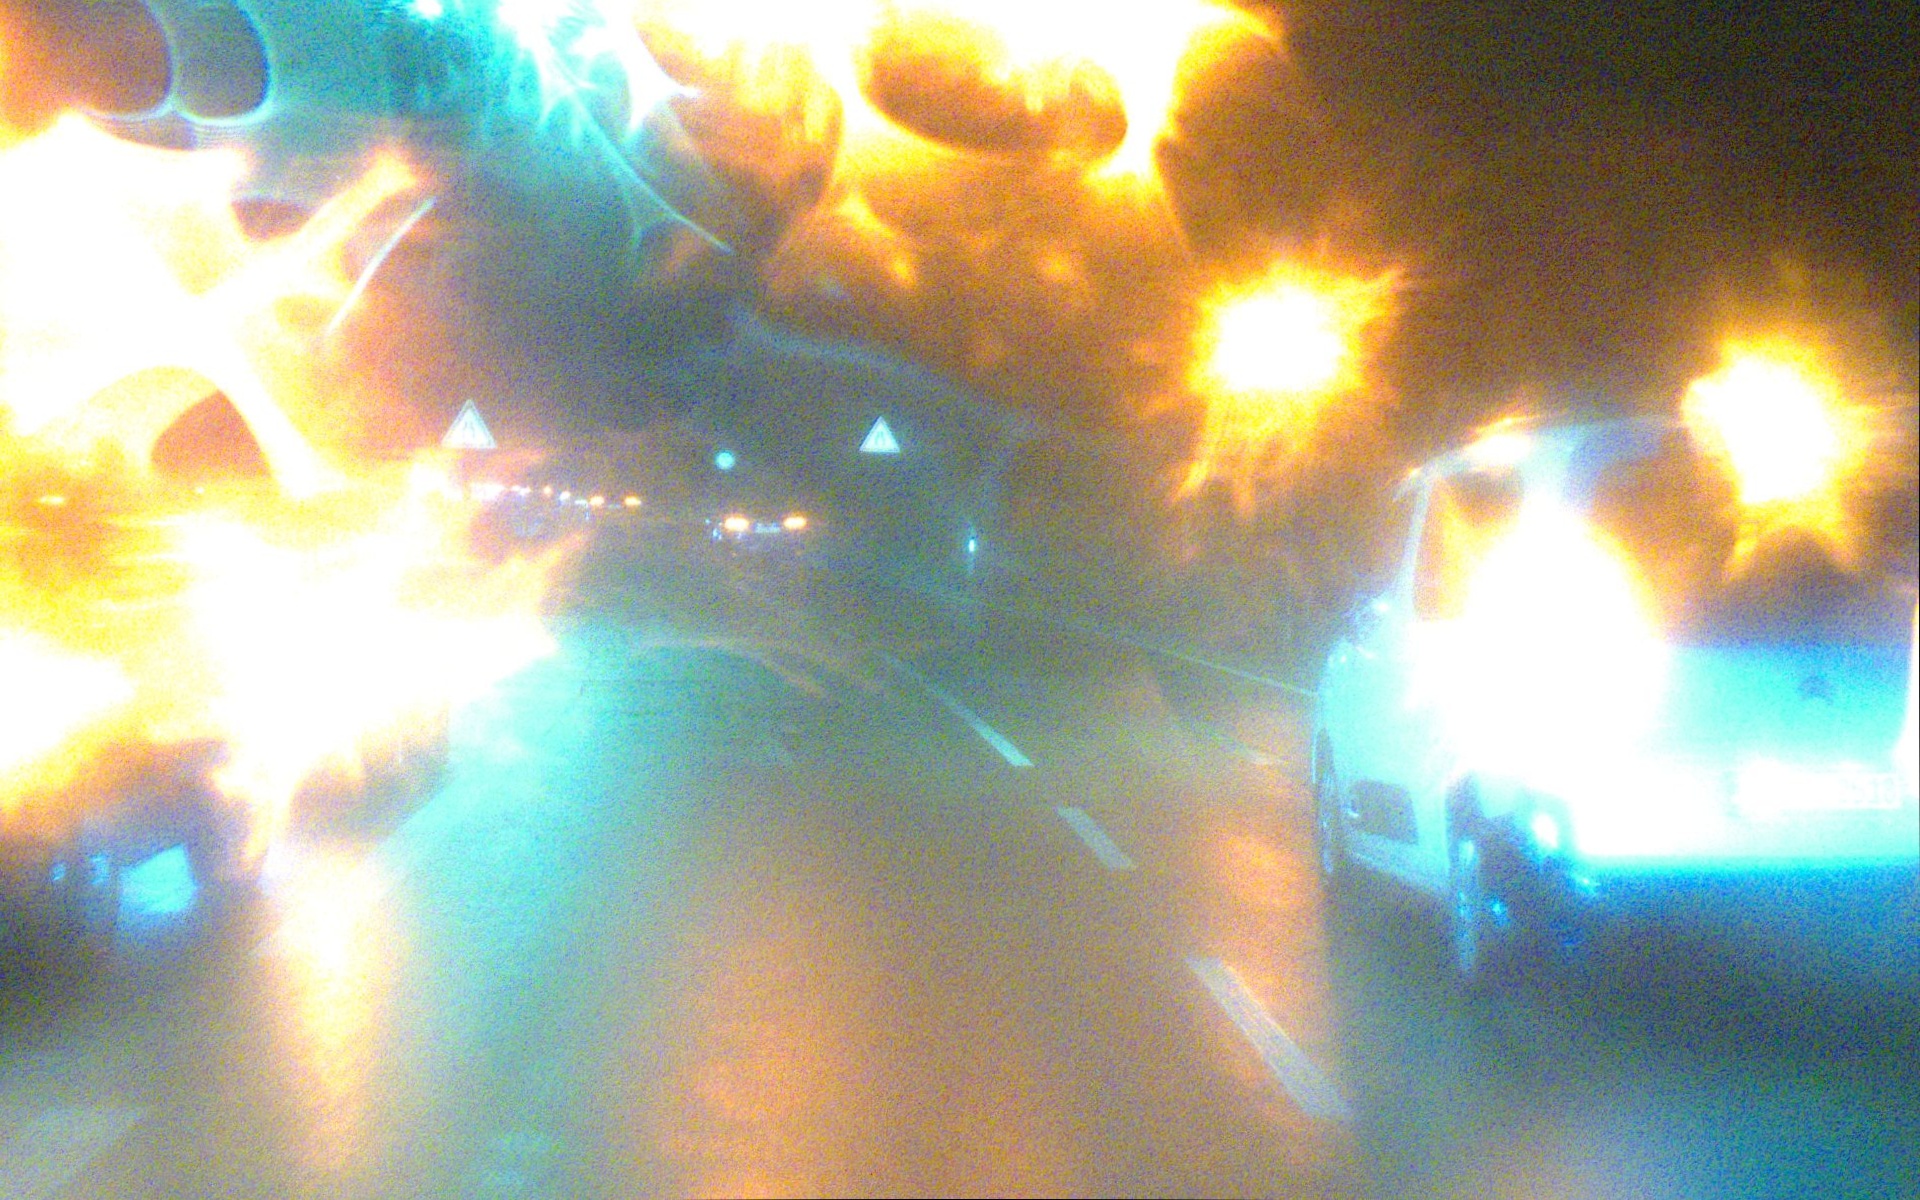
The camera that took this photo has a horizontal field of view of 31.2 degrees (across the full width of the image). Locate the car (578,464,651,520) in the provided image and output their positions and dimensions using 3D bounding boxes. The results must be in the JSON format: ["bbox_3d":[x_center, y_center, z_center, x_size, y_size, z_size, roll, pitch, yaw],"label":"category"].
[{"bbox_3d":[-12.227,-3.826,121.907,1.994,1.711,4.000,4,0,1],"label":"car"}]

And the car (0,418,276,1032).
[{"bbox_3d":[-3.675,0.304,12.131,1.783,1.776,4.437,0,1,-2],"label":"car"}]

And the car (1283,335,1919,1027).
[{"bbox_3d":[2.320,0.188,12.349,1.791,2.015,4.580,0,1,-1],"label":"car"}]

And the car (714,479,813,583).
[{"bbox_3d":[-4.014,-1.404,69.728,1.791,2.015,4.581,0,1,-6],"label":"car"}]

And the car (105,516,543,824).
[{"bbox_3d":[-3.417,0.295,19.255,1.783,1.506,4.437,-1,1,-2],"label":"car"}]
